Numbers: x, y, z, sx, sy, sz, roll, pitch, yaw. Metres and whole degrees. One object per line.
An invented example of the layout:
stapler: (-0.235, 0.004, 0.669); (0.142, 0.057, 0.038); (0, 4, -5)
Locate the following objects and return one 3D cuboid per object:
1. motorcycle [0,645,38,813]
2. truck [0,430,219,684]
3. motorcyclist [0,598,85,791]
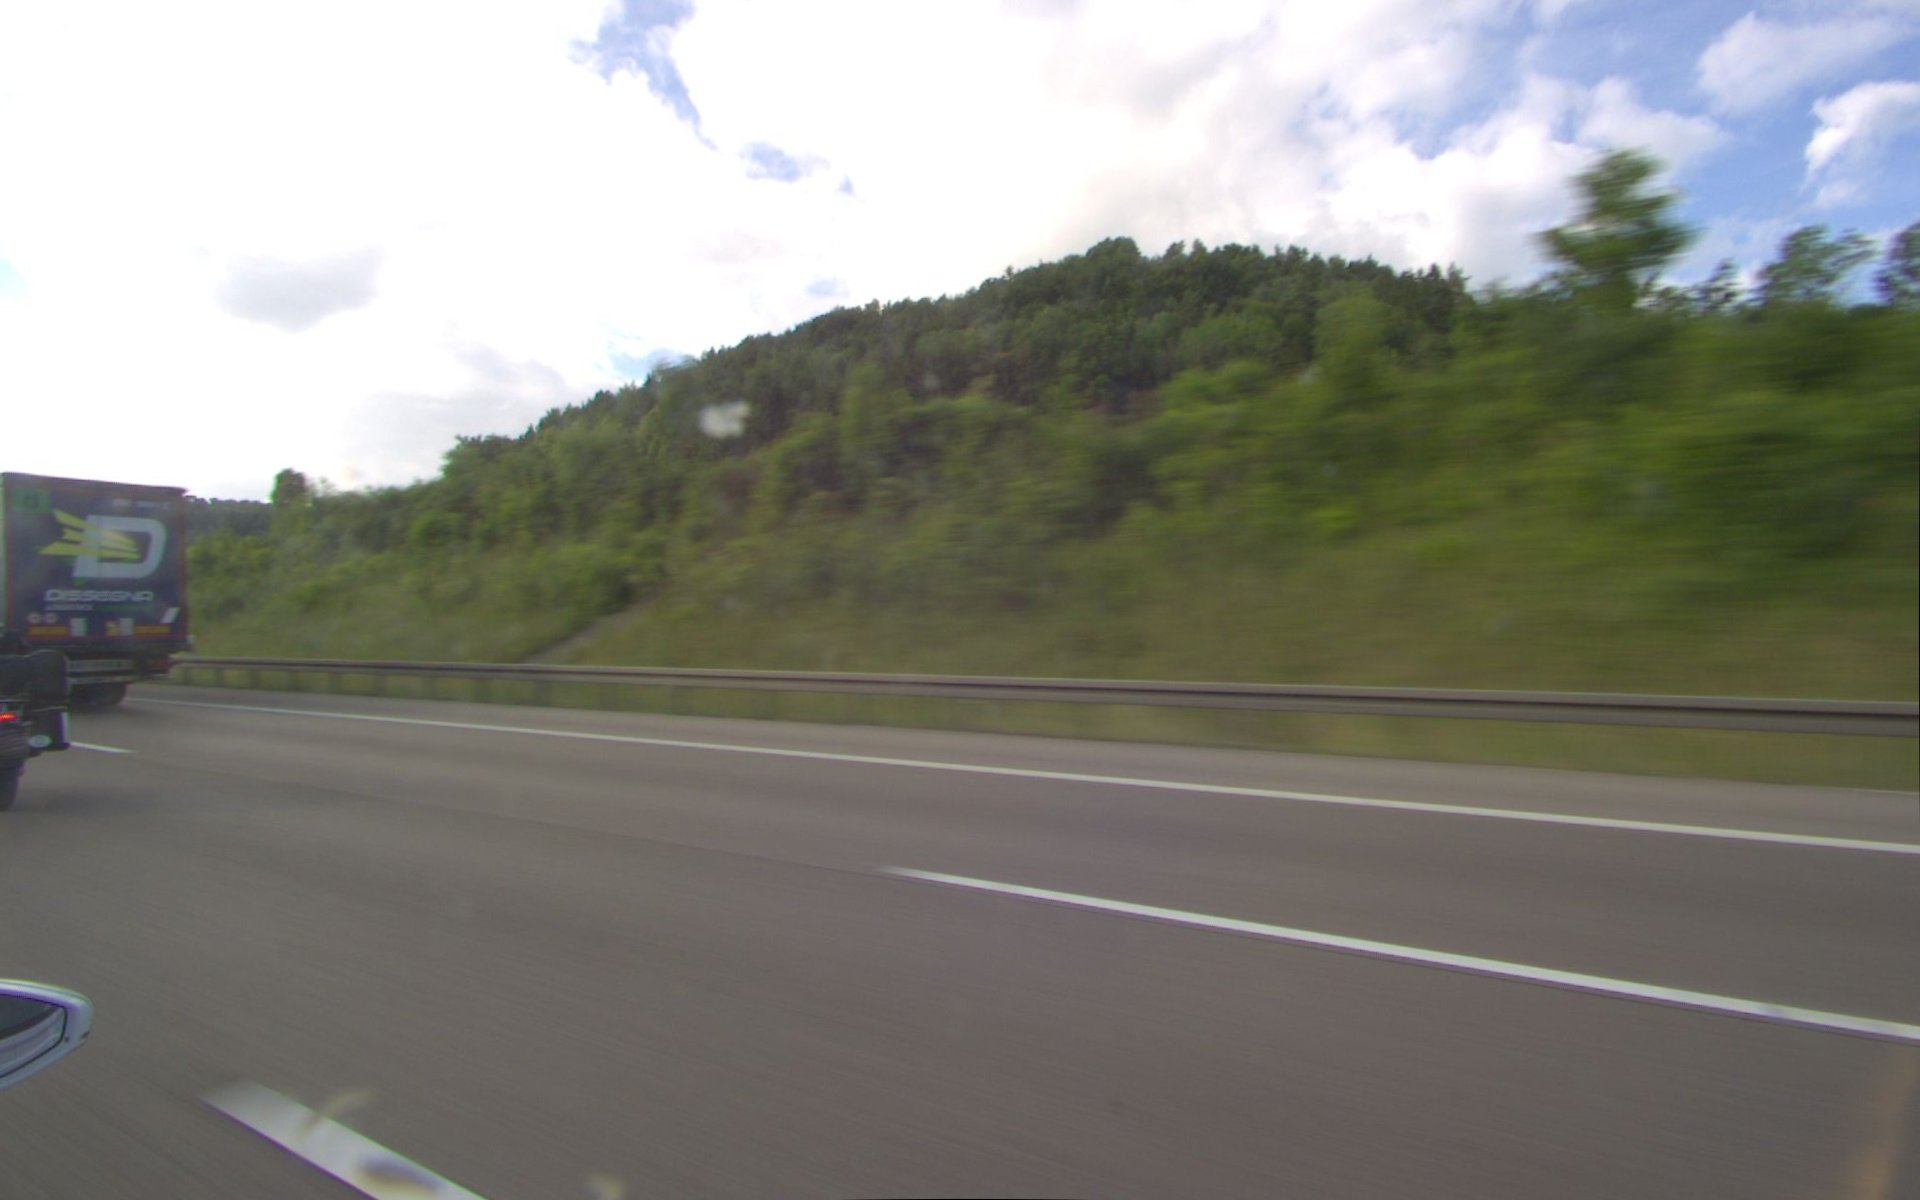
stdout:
motorcycle: (-8.511, 1.059, 8.485); (1.715, 1.356, 0.626); (-1, -2, 34)
truck: (-21.862, -0.512, 21.847); (17.477, 4.043, 2.959); (-1, -1, 32)
motorcyclist: (-7.920, 0.760, 8.258); (0.786, 1.534, 0.875); (-1, -2, 33)
